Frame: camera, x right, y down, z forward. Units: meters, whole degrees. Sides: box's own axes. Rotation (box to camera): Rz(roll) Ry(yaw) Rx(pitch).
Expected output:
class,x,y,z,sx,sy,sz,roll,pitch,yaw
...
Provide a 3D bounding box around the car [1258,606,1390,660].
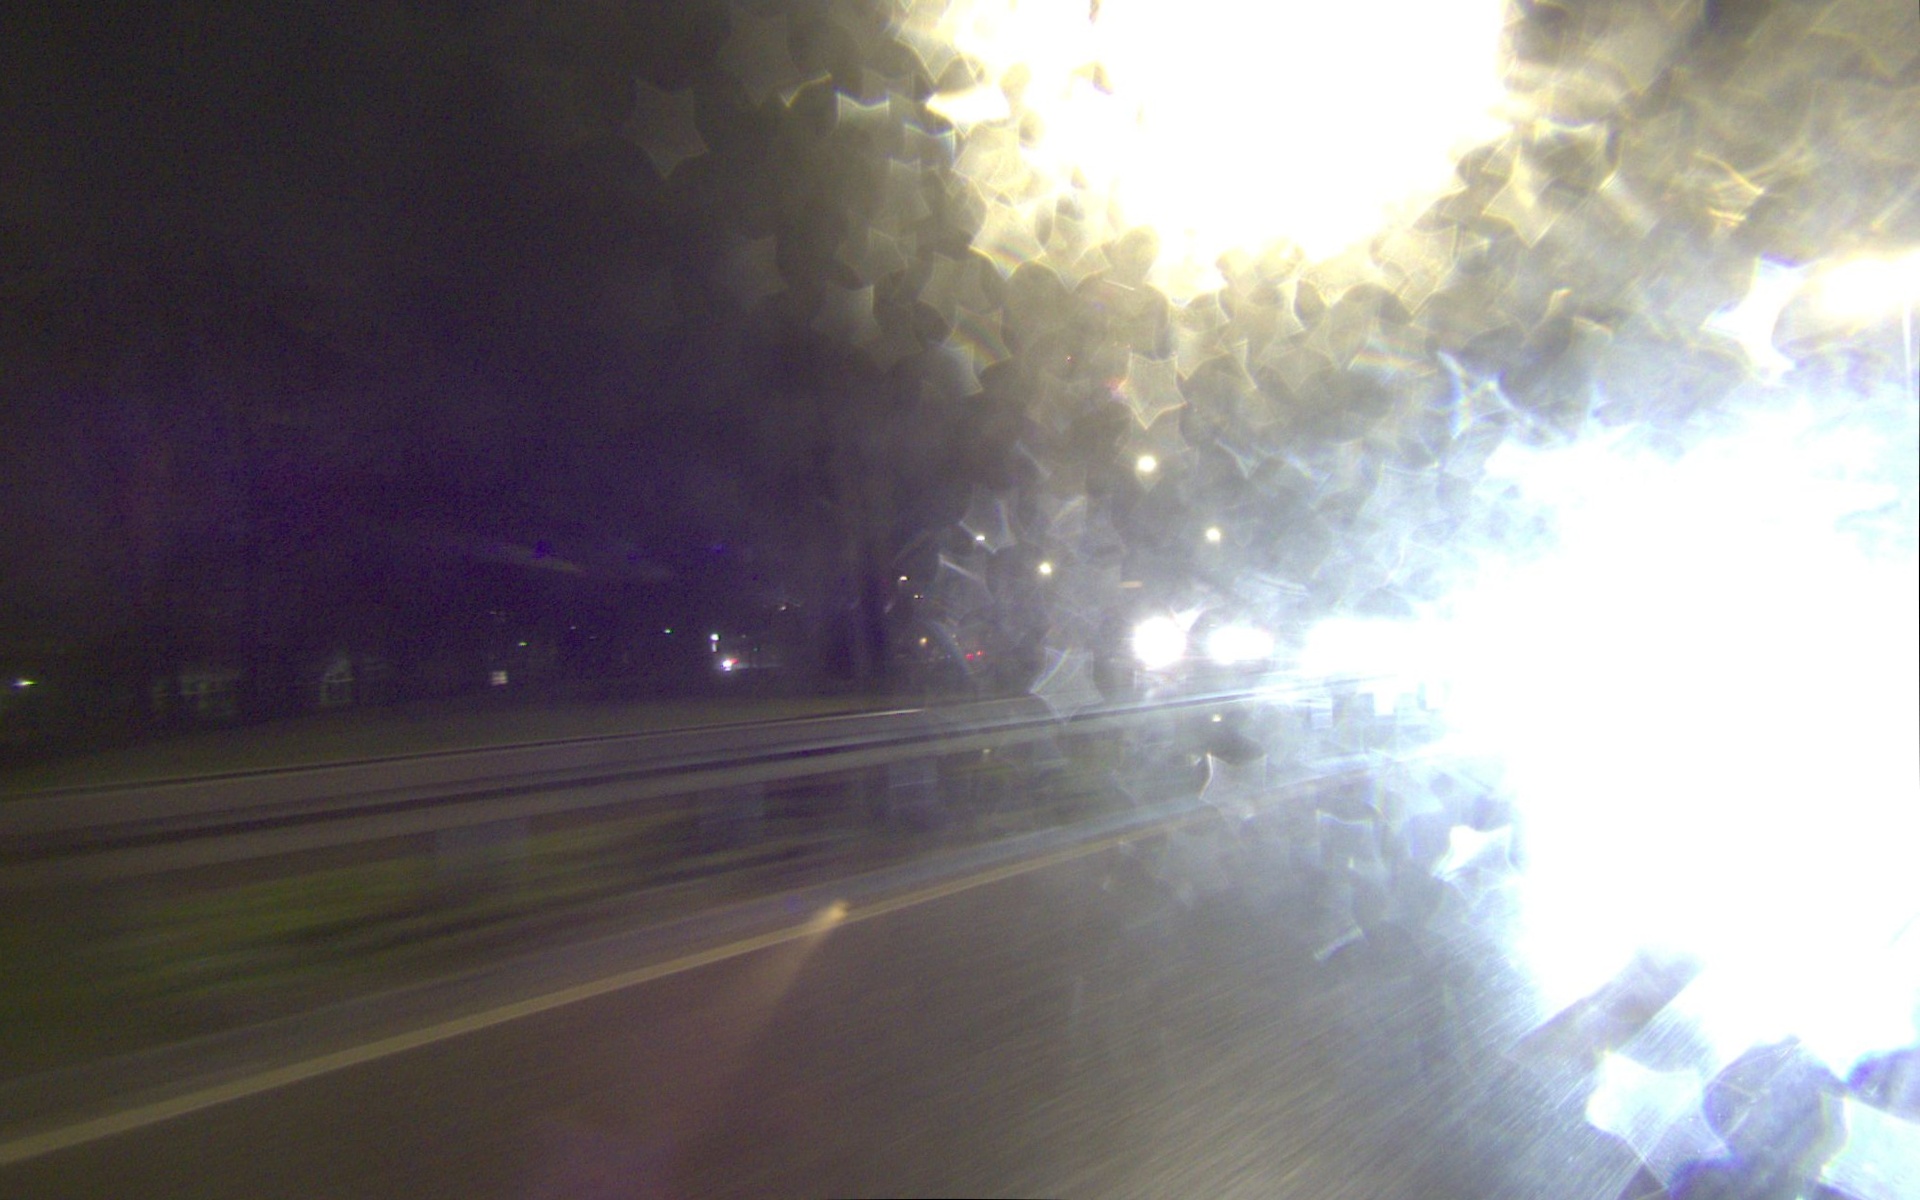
class,x,y,z,sx,sy,sz,roll,pitch,yaw
car,12.270,1.058,34.522,1.958,1.660,4.792,0,0,-13

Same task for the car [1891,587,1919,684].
class,x,y,z,sx,sy,sz,roll,pitch,yaw
car,18.383,0.607,17.690,4.203,1.641,2.049,0,-1,-32

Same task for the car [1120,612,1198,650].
class,x,y,z,sx,sy,sz,roll,pitch,yaw
car,9.267,1.421,47.522,1.958,1.661,4.353,-1,-1,-13

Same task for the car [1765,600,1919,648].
class,x,y,z,sx,sy,sz,roll,pitch,yaw
car,33.738,0.892,38.884,4.235,1.720,1.974,-1,-1,36

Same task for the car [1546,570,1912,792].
class,x,y,z,sx,sy,sz,roll,pitch,yaw
car,7.678,0.604,9.975,4.162,1.736,1.927,0,1,-39

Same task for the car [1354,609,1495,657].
class,x,y,z,sx,sy,sz,roll,pitch,yaw
car,15.575,1.065,34.228,1.958,1.426,4.555,0,0,-13

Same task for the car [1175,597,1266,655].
class,x,y,z,sx,sy,sz,roll,pitch,yaw
car,10.500,1.119,41.101,1.728,2.039,4.005,-5,-3,-12

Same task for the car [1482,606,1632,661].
class,x,y,z,sx,sy,sz,roll,pitch,yaw
car,19.849,1.049,33.864,1.958,1.660,4.127,0,0,-16
